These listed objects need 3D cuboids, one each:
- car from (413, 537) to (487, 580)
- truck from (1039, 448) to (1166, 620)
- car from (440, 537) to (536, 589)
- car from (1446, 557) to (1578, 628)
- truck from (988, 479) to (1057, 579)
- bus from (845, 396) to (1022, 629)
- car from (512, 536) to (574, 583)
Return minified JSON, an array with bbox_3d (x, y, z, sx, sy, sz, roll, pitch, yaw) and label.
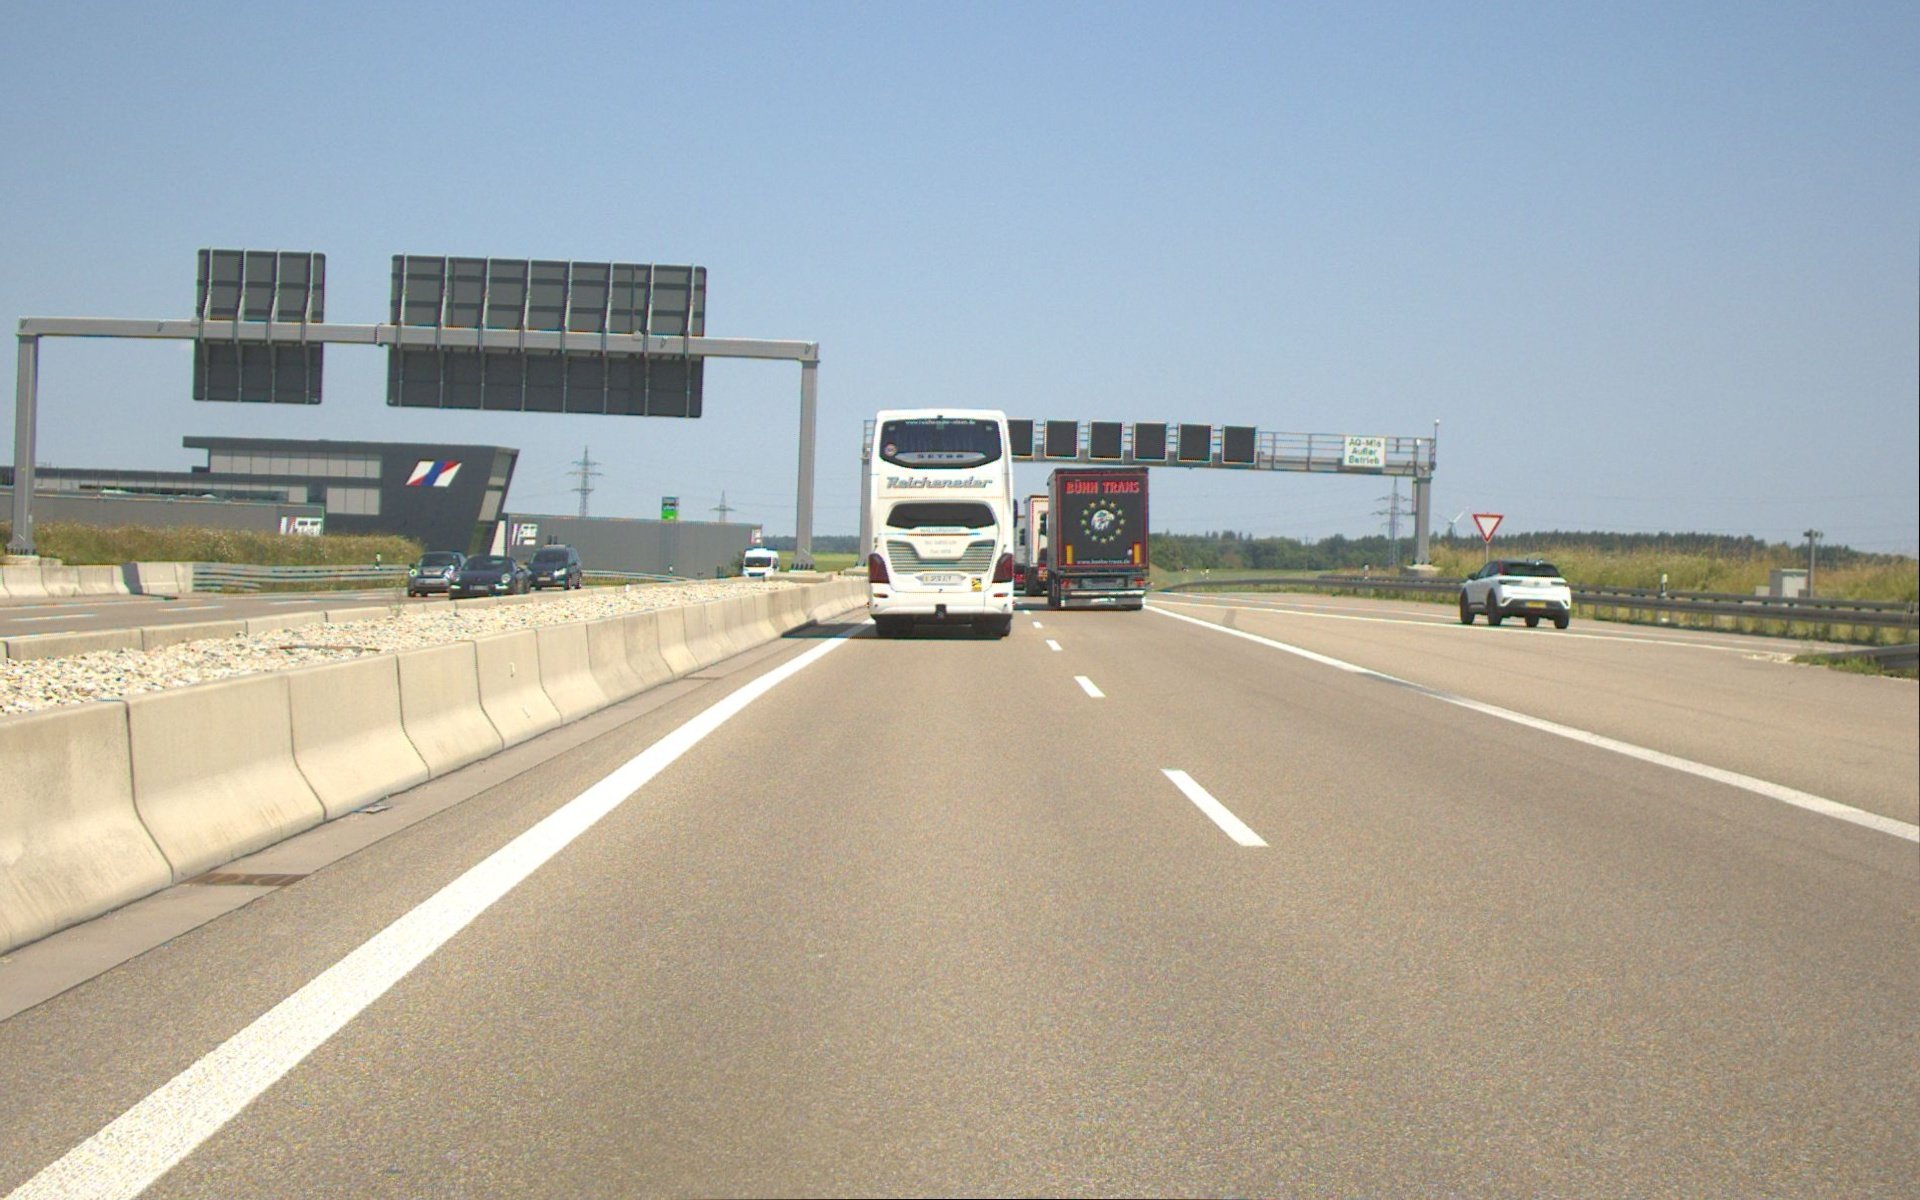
[{"bbox_3d":[-16.166,-1.323,109.183,1.890,1.324,3.986,1,1,-2],"label":"car"},{"bbox_3d":[4.138,-1.778,101.139,3.380,4.449,13.565,1,-1,2],"label":"truck"},{"bbox_3d":[-12.981,-1.034,94.705,1.844,1.377,4.752,1,1,2],"label":"car"},{"bbox_3d":[12.605,-0.193,78.764,1.890,1.524,4.263,1,1,-7],"label":"car"},{"bbox_3d":[2.413,-2.774,134.696,2.437,3.776,6.494,1,1,-1],"label":"truck"},{"bbox_3d":[-0.549,-1.638,63.804,2.980,3.961,9.106,1,2,-1],"label":"bus"},{"bbox_3d":[-16.612,-1.630,137.023,1.846,1.817,4.921,1,1,0],"label":"car"}]
